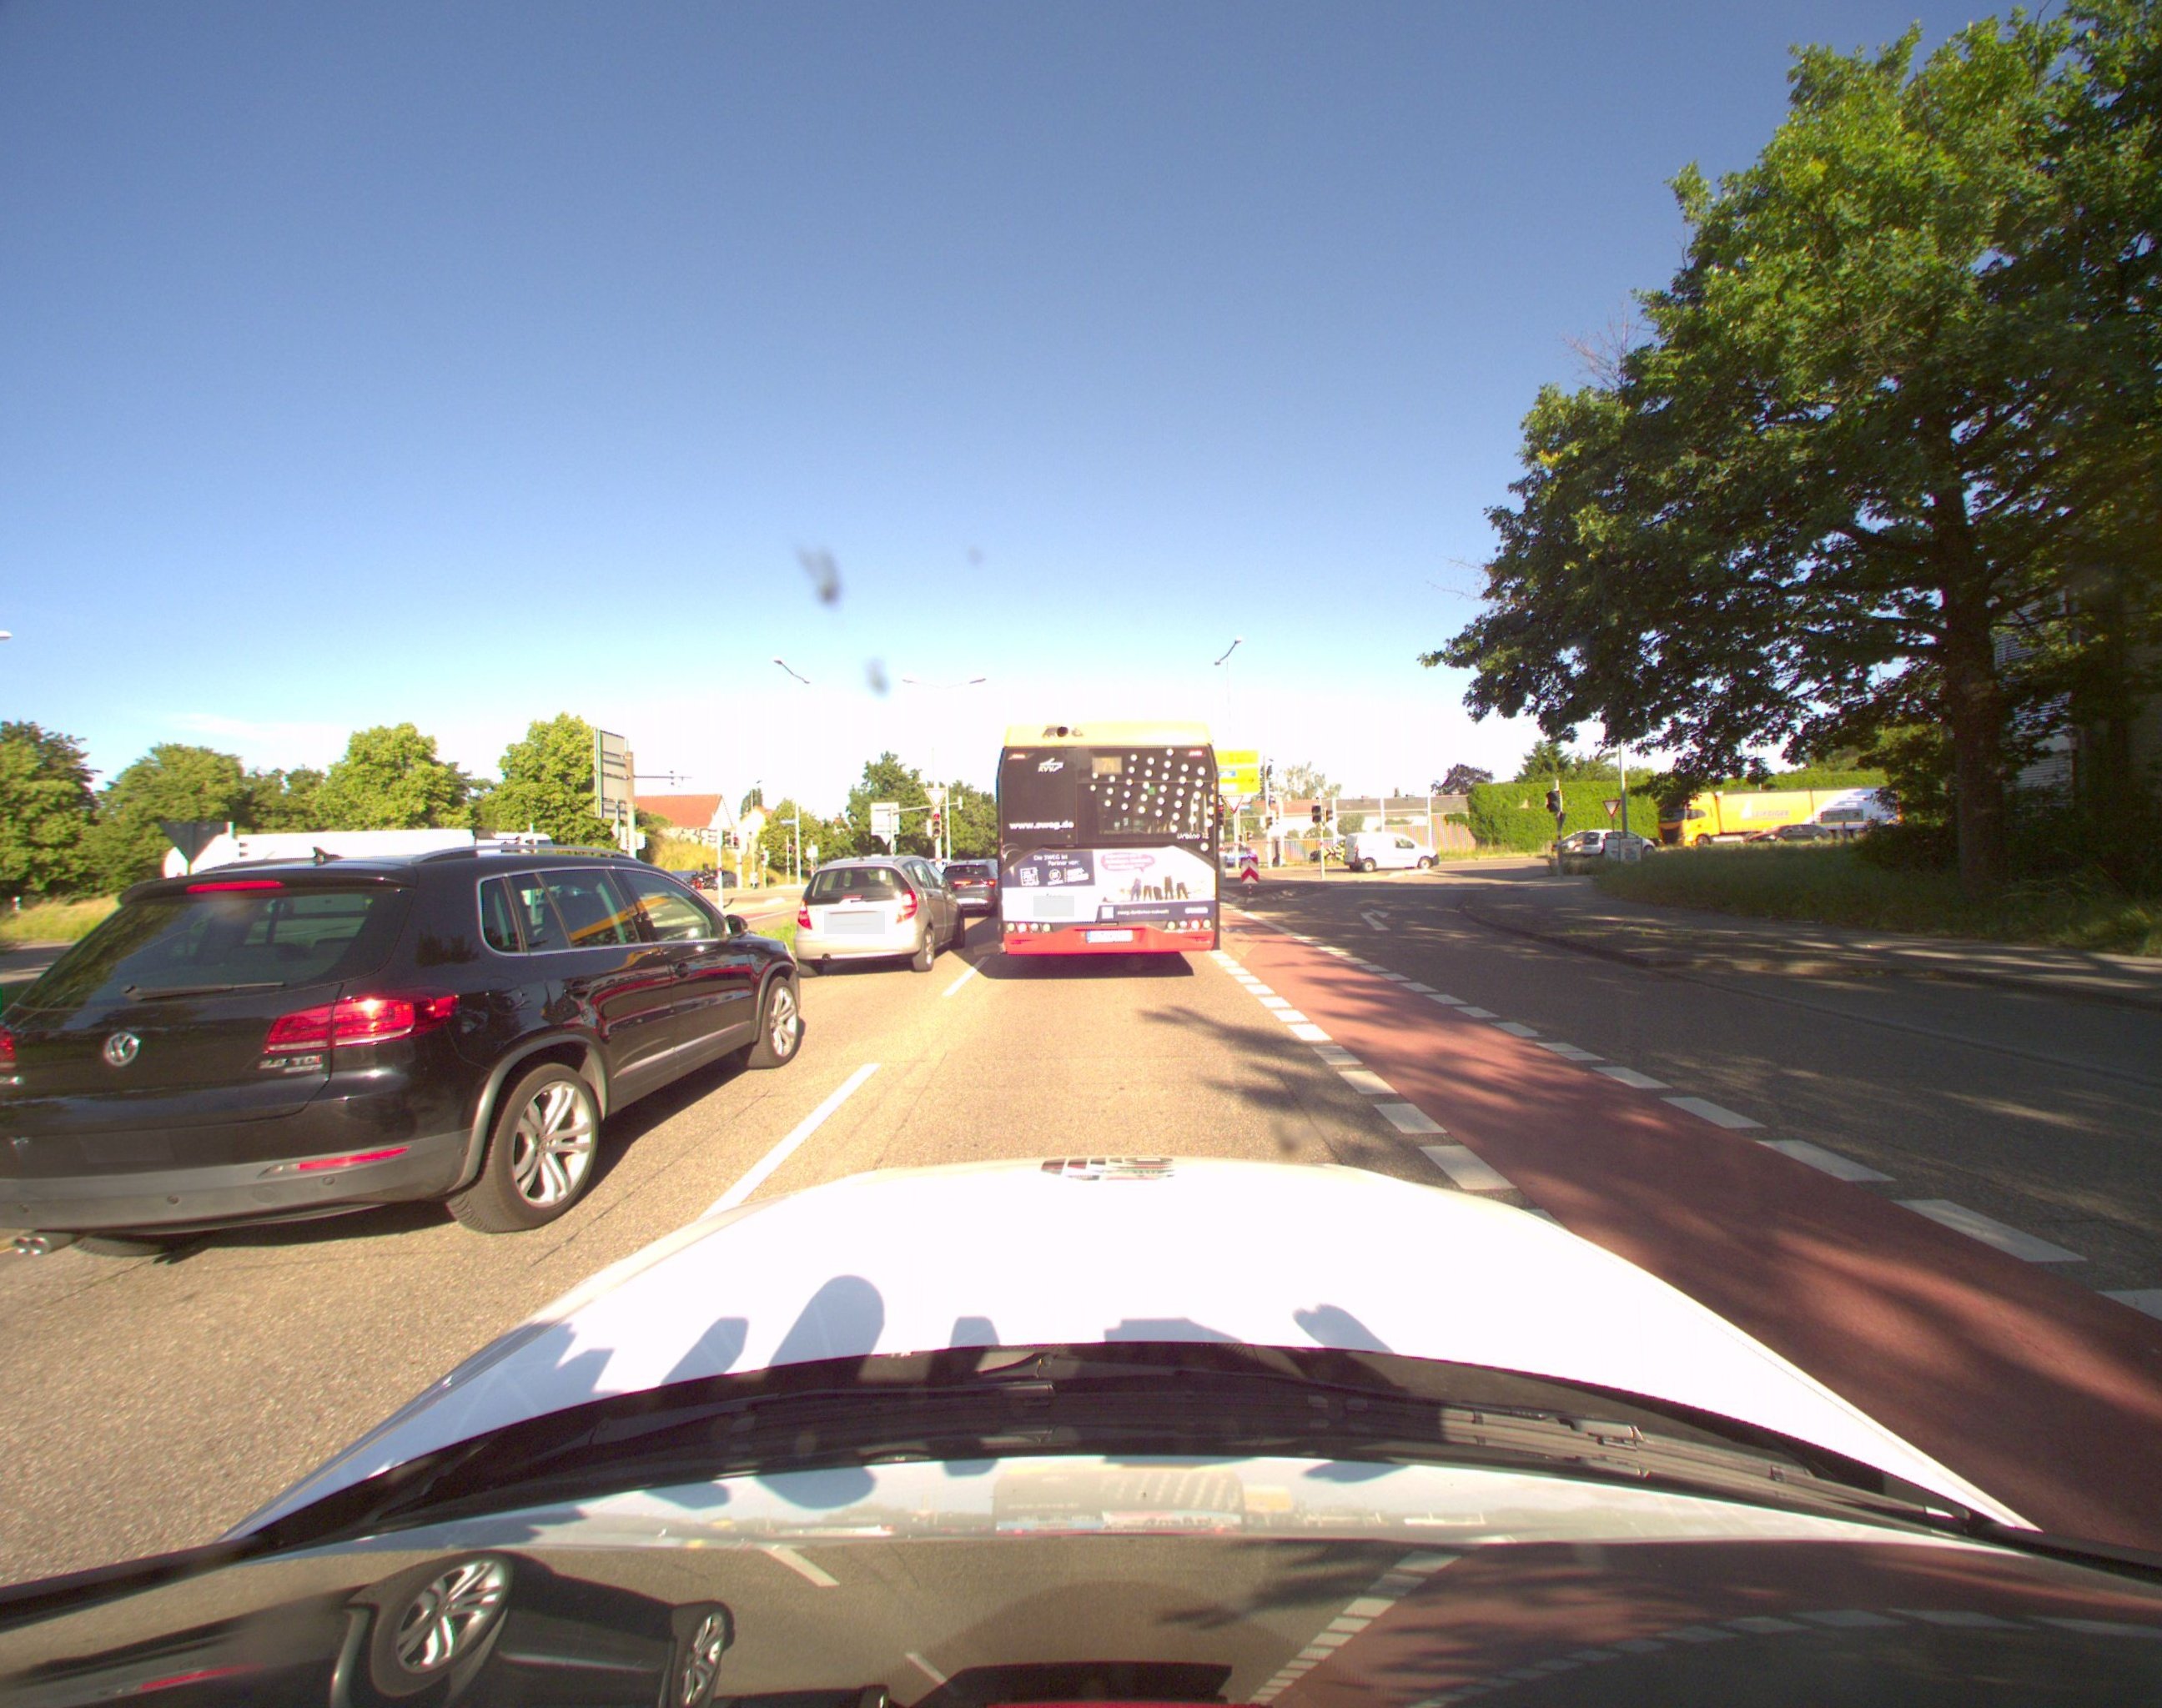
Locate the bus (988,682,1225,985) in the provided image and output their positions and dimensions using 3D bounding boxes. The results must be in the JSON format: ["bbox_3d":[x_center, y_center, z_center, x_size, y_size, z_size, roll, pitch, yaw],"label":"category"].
[{"bbox_3d":[0.474,-0.231,15.037,2.586,3.334,11.988,-1,0,2],"label":"bus"}]

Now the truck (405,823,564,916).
[{"bbox_3d":[-25.331,0.622,34.801,4.796,3.695,2.405,-2,0,-7],"label":"truck"}]

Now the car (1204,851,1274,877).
[{"bbox_3d":[9.835,0.606,50.814,3.980,1.553,1.693,-1,-1,-5],"label":"car"}]

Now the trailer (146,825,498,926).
[{"bbox_3d":[-31.359,0.826,34.086,11.463,3.696,2.390,-2,0,-7],"label":"trailer"}]

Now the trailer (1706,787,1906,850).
[{"bbox_3d":[51.337,-2.485,57.754,12.712,4.030,2.466,-2,0,-5],"label":"trailer"}]

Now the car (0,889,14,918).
[{"bbox_3d":[-61.813,2.809,44.274,4.690,1.540,1.998,-2,0,-2],"label":"car"}]

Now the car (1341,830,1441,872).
[{"bbox_3d":[14.451,-0.141,38.067,4.101,1.801,1.456,-2,-1,-2],"label":"car"}]

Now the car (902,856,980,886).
[{"bbox_3d":[-8.379,1.002,49.109,4.522,1.715,1.995,-1,-1,-7],"label":"car"}]

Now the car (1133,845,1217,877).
[{"bbox_3d":[4.935,0.375,43.244,4.212,1.562,1.761,-1,-1,-3],"label":"car"}]

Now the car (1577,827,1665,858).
[{"bbox_3d":[28.722,-0.600,43.386,3.664,1.486,1.591,-2,-1,-5],"label":"car"}]

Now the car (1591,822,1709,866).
[{"bbox_3d":[17.779,-0.299,25.456,3.412,1.296,1.449,0,-1,-24],"label":"car"}]

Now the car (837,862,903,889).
[{"bbox_3d":[-14.159,1.435,54.732,3.979,1.612,1.693,-2,0,-4],"label":"car"}]

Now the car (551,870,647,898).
[{"bbox_3d":[-24.649,1.517,41.760,3.842,1.385,1.678,-1,-1,-7],"label":"car"}]

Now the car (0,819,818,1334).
[{"bbox_3d":[-3.184,0.798,4.776,1.814,1.673,4.004,-3,-1,1],"label":"car"}]

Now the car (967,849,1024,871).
[{"bbox_3d":[-5.509,0.394,52.779,3.513,1.302,1.574,-2,0,-2],"label":"car"}]

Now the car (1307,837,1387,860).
[{"bbox_3d":[15.488,-0.314,47.570,4.148,1.302,1.573,-1,-1,-2],"label":"car"}]

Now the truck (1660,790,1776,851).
[{"bbox_3d":[44.652,-2.296,57.164,6.387,3.998,2.468,-2,0,-5],"label":"truck"}]

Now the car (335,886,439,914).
[{"bbox_3d":[-39.484,2.616,46.418,4.406,1.459,1.572,-1,-1,-5],"label":"car"}]

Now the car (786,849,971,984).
[{"bbox_3d":[-2.857,0.788,12.435,1.748,1.620,4.033,-2,1,0],"label":"car"}]

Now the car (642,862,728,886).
[{"bbox_3d":[-23.496,1.184,48.409,4.277,1.302,1.574,-2,0,-2],"label":"car"}]

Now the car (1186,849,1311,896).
[{"bbox_3d":[4.950,0.549,24.269,3.500,1.302,1.579,-1,1,10],"label":"car"}]

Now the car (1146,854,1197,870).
[{"bbox_3d":[7.182,0.639,64.797,3.720,1.136,1.584,-2,0,42],"label":"car"}]

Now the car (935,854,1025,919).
[{"bbox_3d":[-2.536,0.792,21.260,1.581,1.485,3.687,-2,-1,4],"label":"car"}]
